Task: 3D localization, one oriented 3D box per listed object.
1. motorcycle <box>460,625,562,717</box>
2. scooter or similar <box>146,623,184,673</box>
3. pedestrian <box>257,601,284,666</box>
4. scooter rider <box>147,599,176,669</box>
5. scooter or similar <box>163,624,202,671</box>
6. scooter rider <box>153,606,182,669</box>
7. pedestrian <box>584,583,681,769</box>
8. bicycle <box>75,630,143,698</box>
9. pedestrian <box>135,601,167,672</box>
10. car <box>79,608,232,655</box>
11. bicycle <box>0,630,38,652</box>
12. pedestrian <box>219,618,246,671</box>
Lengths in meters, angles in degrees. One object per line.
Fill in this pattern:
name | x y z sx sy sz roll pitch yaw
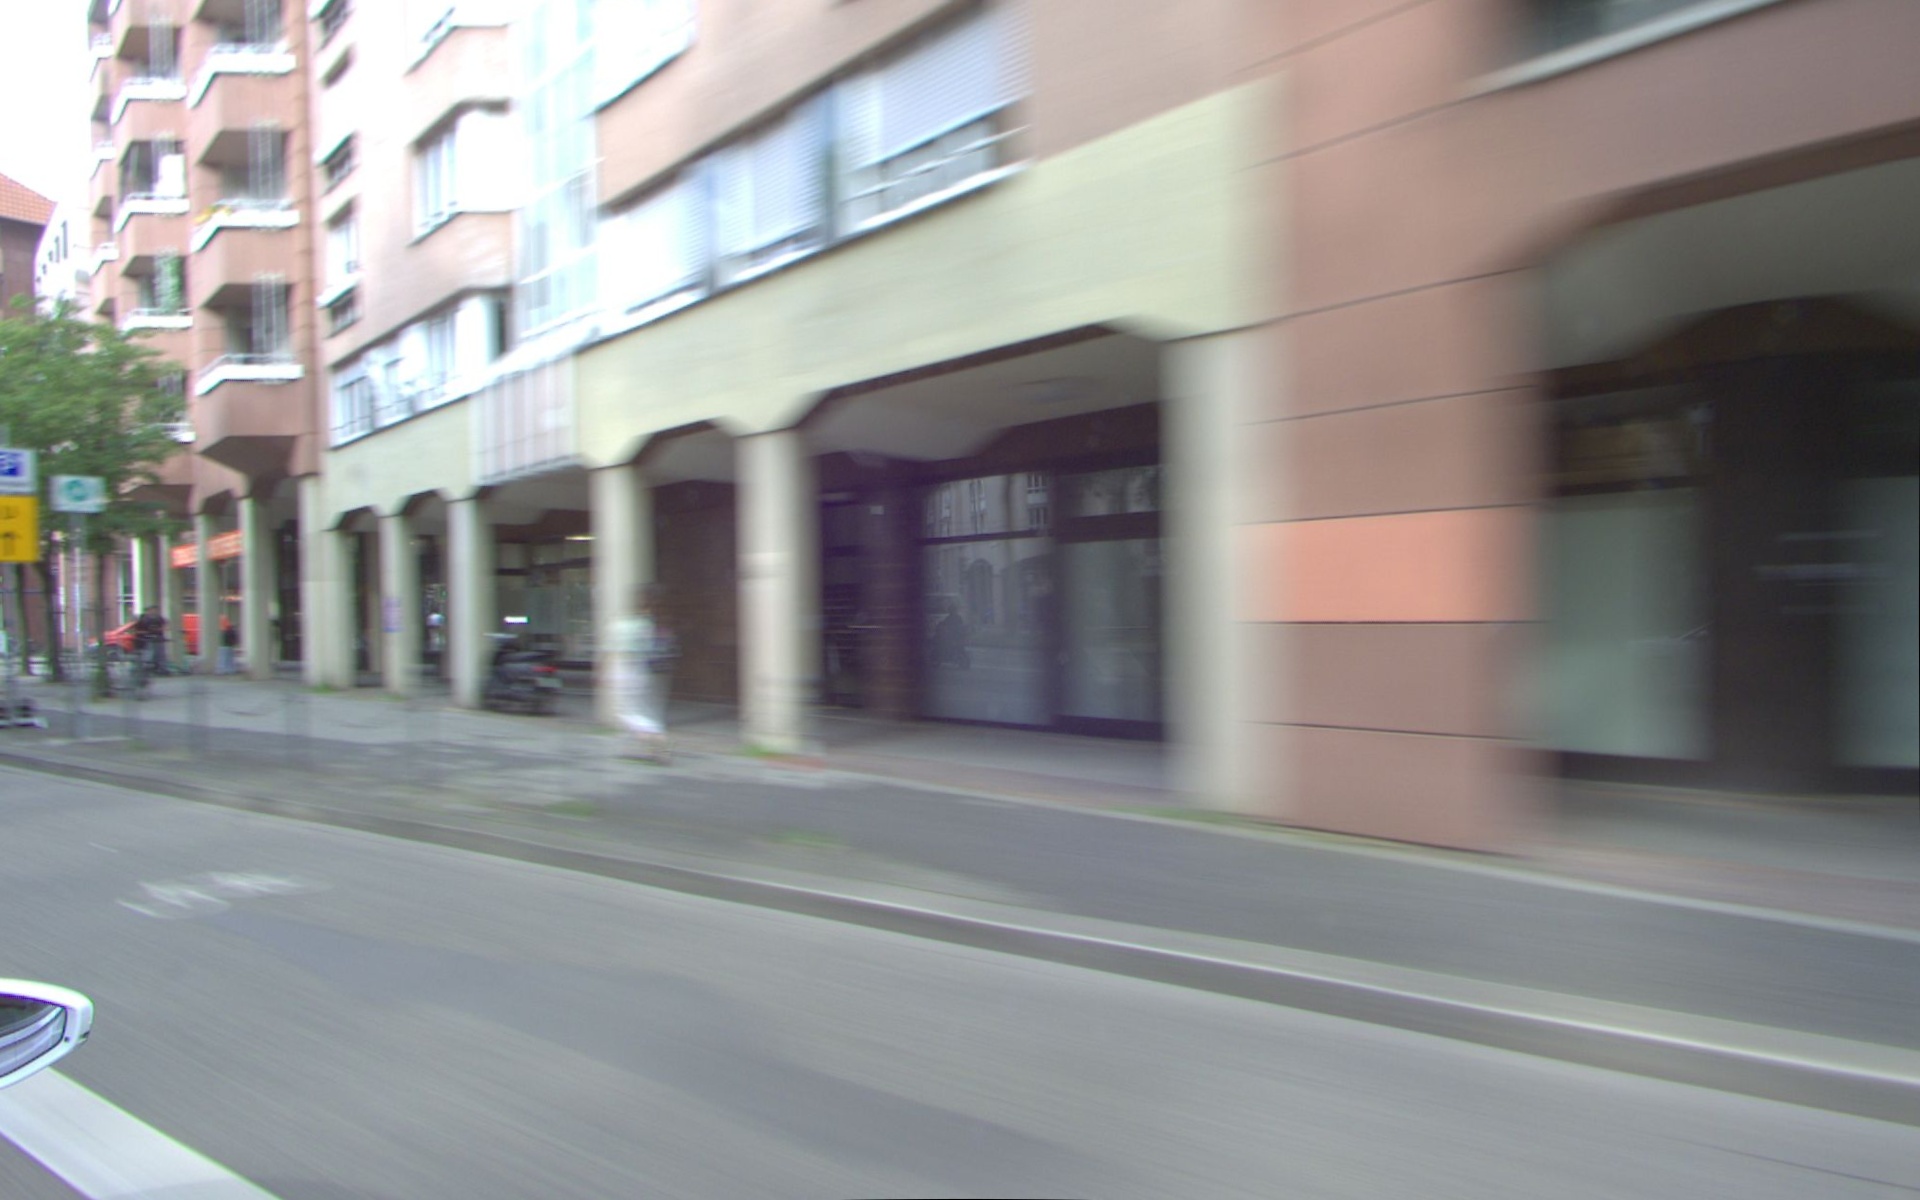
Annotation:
motorcycle | -6.417 0.978 14.268 1.883 1.171 0.613 0 2 43
scooter or similar | -20.041 1.201 25.234 1.314 1.222 0.472 -1 0 38
pedestrian | -19.705 0.952 28.609 0.545 1.823 0.654 -1 0 -28
scooter rider | -20.253 0.854 25.393 0.546 1.743 0.461 0 0 38
scooter or similar | -20.562 1.241 26.480 1.390 1.185 0.551 -1 0 41
scooter rider | -19.829 0.930 25.053 0.558 1.577 0.458 0 0 39
pedestrian | -3.095 0.688 9.445 0.816 1.671 0.540 0 0 44
bicycle | -15.197 1.116 17.873 1.782 1.132 0.610 -1 0 39
pedestrian | -20.907 0.931 25.876 0.650 1.823 0.548 0 0 42
car | -33.768 1.306 42.140 1.980 1.848 4.799 -3 -2 43
bicycle | -45.934 2.000 48.564 0.473 1.022 1.723 -1 0 38
pedestrian | -18.842 1.144 25.923 0.483 1.341 0.480 -1 0 -44
